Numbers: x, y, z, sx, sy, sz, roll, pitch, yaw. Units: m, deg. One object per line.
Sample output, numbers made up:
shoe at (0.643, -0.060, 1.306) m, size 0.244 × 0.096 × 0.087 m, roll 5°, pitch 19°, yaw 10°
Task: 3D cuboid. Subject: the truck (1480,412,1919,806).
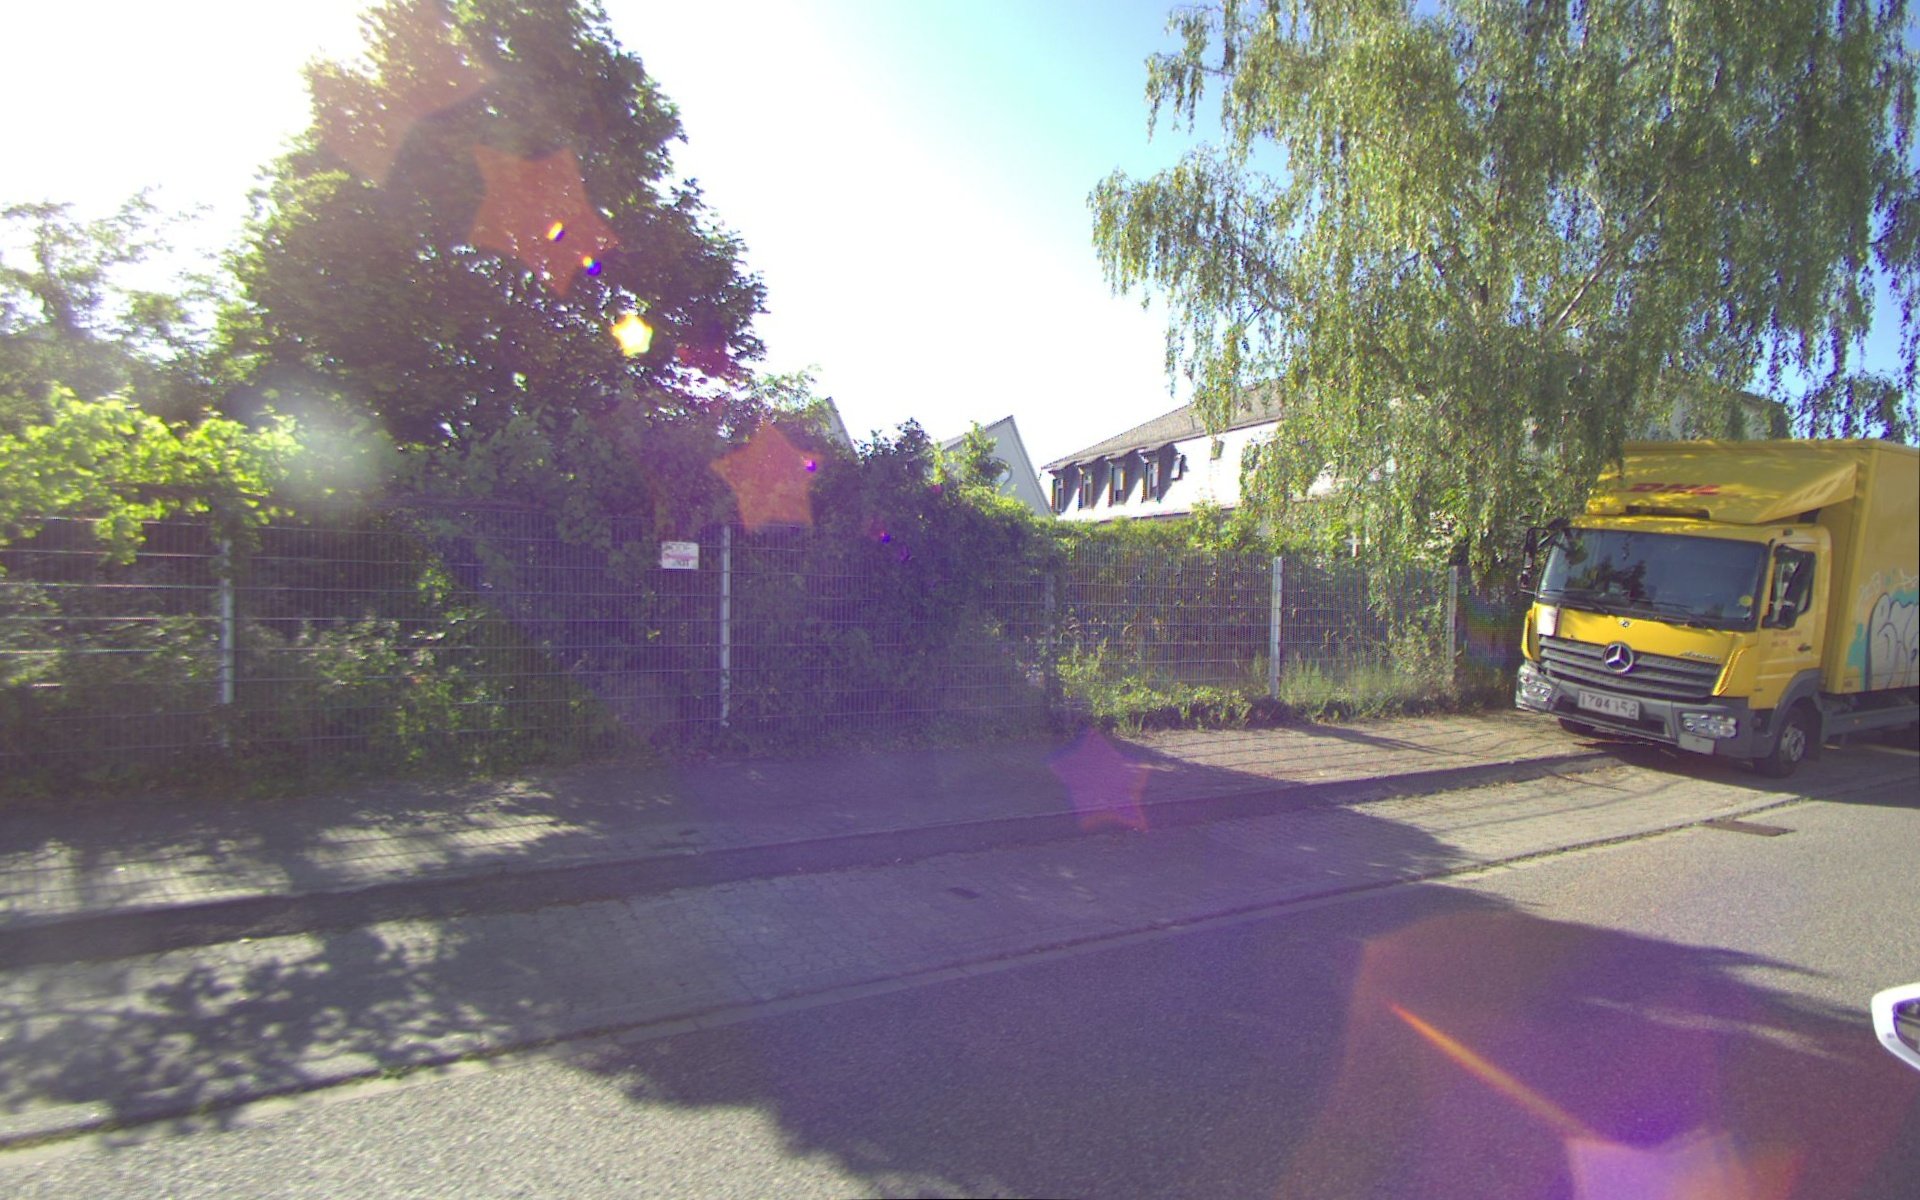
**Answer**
truck at (10.364, -0.028, 12.296) m, size 8.553 × 3.553 × 2.618 m, roll 0°, pitch 7°, yaw -30°
